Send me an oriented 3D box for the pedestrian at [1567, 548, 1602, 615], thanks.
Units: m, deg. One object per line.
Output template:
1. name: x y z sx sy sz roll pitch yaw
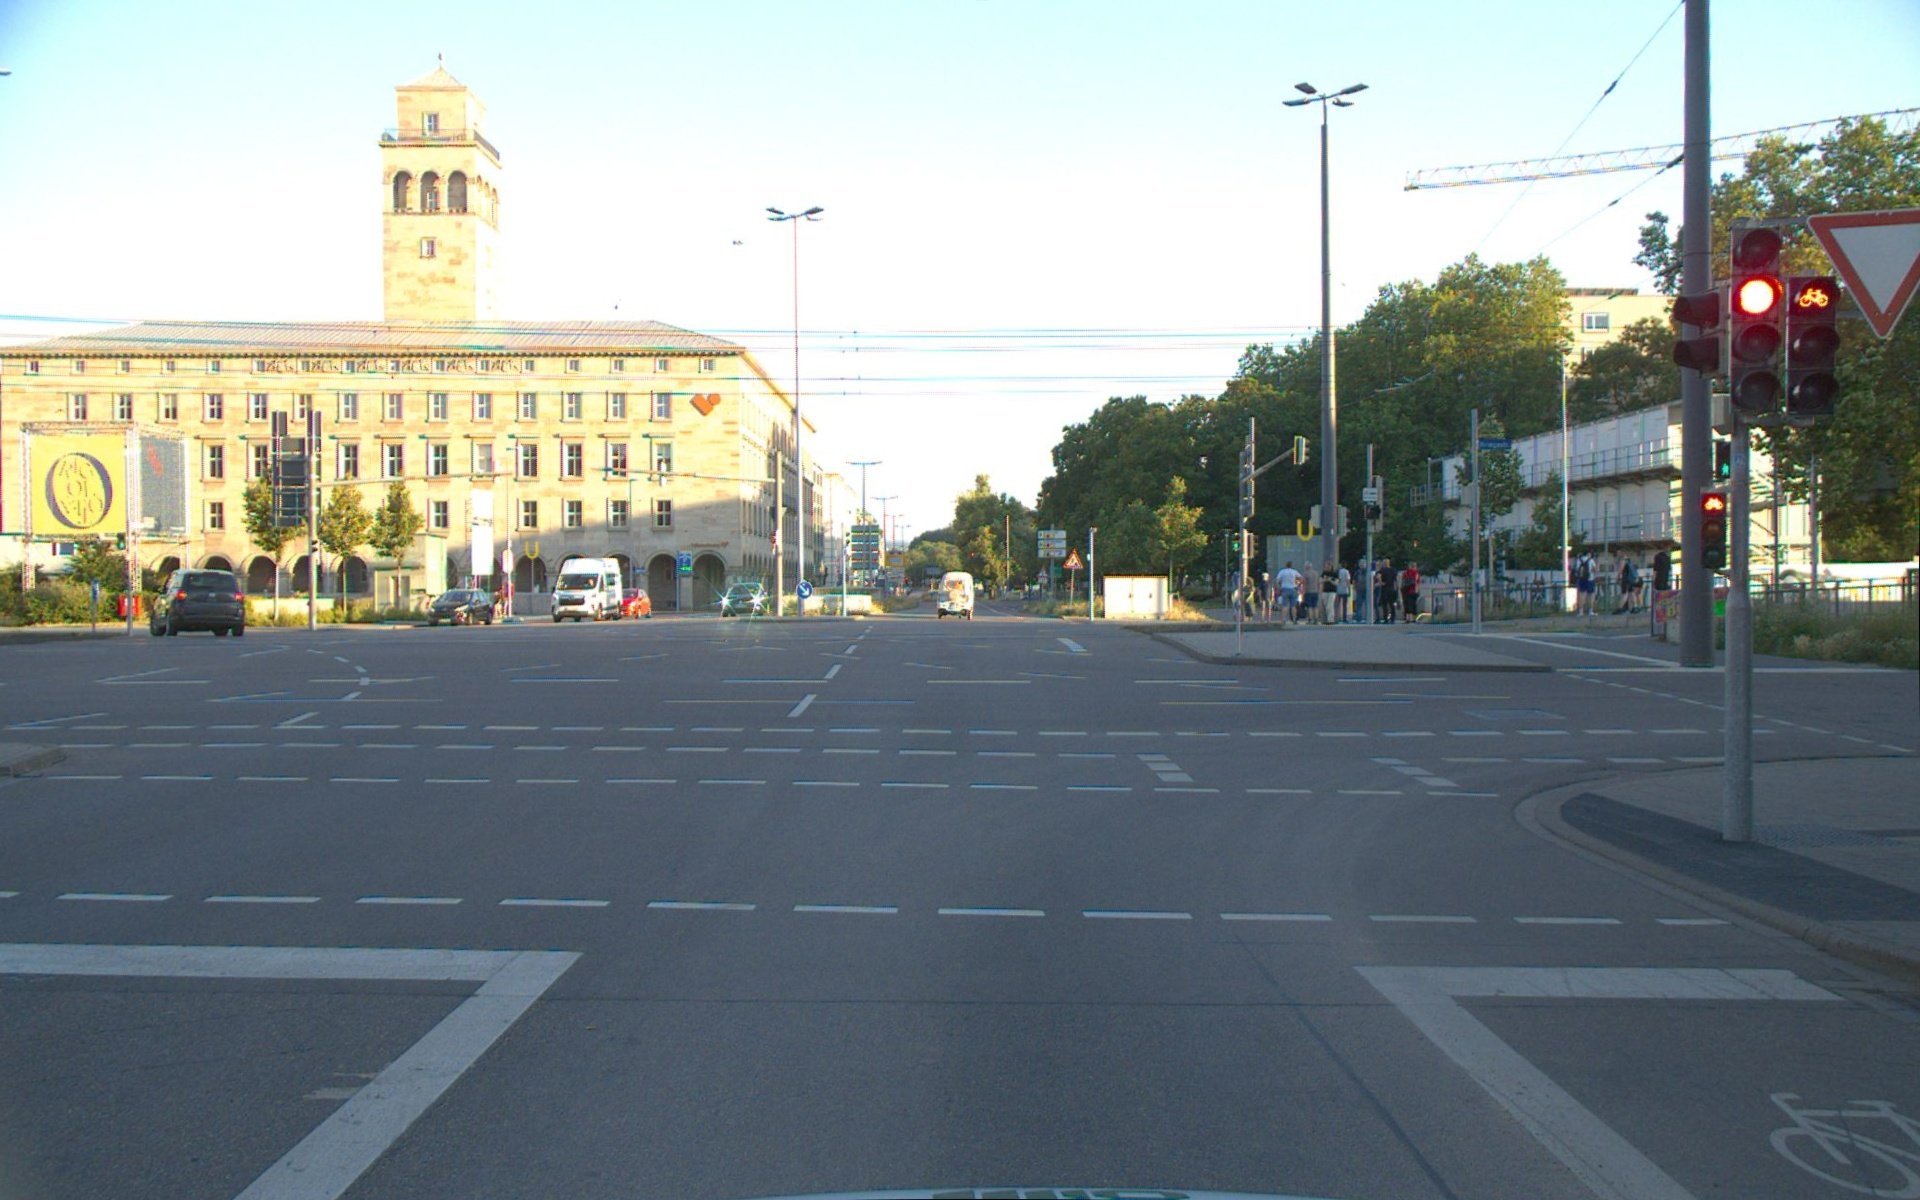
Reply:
1. pedestrian: 16.539 -0.499 43.810 0.652 1.755 0.713 0 1 0

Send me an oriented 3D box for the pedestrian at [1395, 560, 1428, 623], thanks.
1. pedestrian: 12.606 -0.240 46.204 0.826 1.764 0.706 0 1 11

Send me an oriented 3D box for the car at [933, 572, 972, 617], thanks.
1. car: -0.283 -0.231 64.466 1.453 1.725 2.974 -1 1 0

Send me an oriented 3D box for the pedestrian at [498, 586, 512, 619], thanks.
1. pedestrian: -24.601 0.154 89.479 0.609 1.774 0.459 1 -1 -6

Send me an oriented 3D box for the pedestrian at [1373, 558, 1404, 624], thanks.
1. pedestrian: 11.872 -0.254 45.845 0.788 1.822 0.801 0 1 13

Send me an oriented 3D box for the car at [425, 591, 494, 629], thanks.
1. car: -21.128 0.383 69.927 1.786 1.491 4.156 -1 1 -2

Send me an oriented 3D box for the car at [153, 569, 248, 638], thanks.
1. car: -19.108 0.061 41.513 1.722 1.632 4.090 -1 1 -31

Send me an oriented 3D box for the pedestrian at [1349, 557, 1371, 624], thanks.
1. pedestrian: 11.082 -0.266 45.830 0.560 1.822 0.639 0 1 13

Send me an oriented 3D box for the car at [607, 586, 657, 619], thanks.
1. car: -16.025 0.094 80.937 1.703 1.513 4.000 -1 1 -1

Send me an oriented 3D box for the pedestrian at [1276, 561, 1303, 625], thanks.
1. pedestrian: 9.125 -0.205 45.827 0.695 1.755 0.669 0 1 14

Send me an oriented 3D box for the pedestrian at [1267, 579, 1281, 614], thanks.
1. pedestrian: 16.661 -0.181 87.645 0.652 1.874 0.713 0 1 4

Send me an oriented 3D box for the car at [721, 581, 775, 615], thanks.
1. car: -9.256 -0.111 72.491 1.785 1.365 4.001 0 1 1

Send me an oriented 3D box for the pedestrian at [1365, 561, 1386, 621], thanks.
1. pedestrian: 11.886 -0.259 47.310 0.560 1.708 0.639 0 1 13

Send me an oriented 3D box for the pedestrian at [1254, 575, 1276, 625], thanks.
1. pedestrian: 11.211 -0.006 60.804 0.665 1.788 0.902 0 1 20

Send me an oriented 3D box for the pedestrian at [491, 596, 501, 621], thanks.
1. pedestrian: -24.682 0.444 88.070 0.412 1.323 0.459 1 -1 -6

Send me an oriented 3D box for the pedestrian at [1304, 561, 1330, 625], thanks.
1. pedestrian: 9.878 -0.192 45.803 0.695 1.755 0.669 0 1 13

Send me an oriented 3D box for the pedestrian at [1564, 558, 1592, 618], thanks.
1. pedestrian: 16.820 -0.320 45.039 0.559 1.620 0.536 -1 0 -1

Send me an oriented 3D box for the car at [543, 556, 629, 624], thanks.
1. car: -16.246 -0.451 72.236 2.232 2.824 6.085 -1 1 1

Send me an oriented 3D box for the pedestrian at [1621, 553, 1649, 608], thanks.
1. pedestrian: 18.069 -0.521 44.280 0.662 1.466 0.714 0 0 21

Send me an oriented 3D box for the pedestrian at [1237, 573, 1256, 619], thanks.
1. pedestrian: 10.551 -0.149 60.860 0.548 1.683 0.902 0 1 20

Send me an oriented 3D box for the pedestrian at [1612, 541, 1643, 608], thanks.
1. pedestrian: 17.604 -0.667 43.641 0.696 1.755 0.669 0 1 16

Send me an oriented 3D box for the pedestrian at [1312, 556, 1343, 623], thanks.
1. pedestrian: 9.718 -0.276 43.749 0.696 1.755 0.915 0 1 19

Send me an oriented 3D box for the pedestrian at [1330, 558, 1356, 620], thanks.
1. pedestrian: 10.813 -0.315 46.715 0.695 1.755 0.916 0 1 13

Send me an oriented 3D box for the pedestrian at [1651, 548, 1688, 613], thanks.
1. pedestrian: 19.307 -0.542 45.024 0.697 1.755 0.667 -1 1 -8
